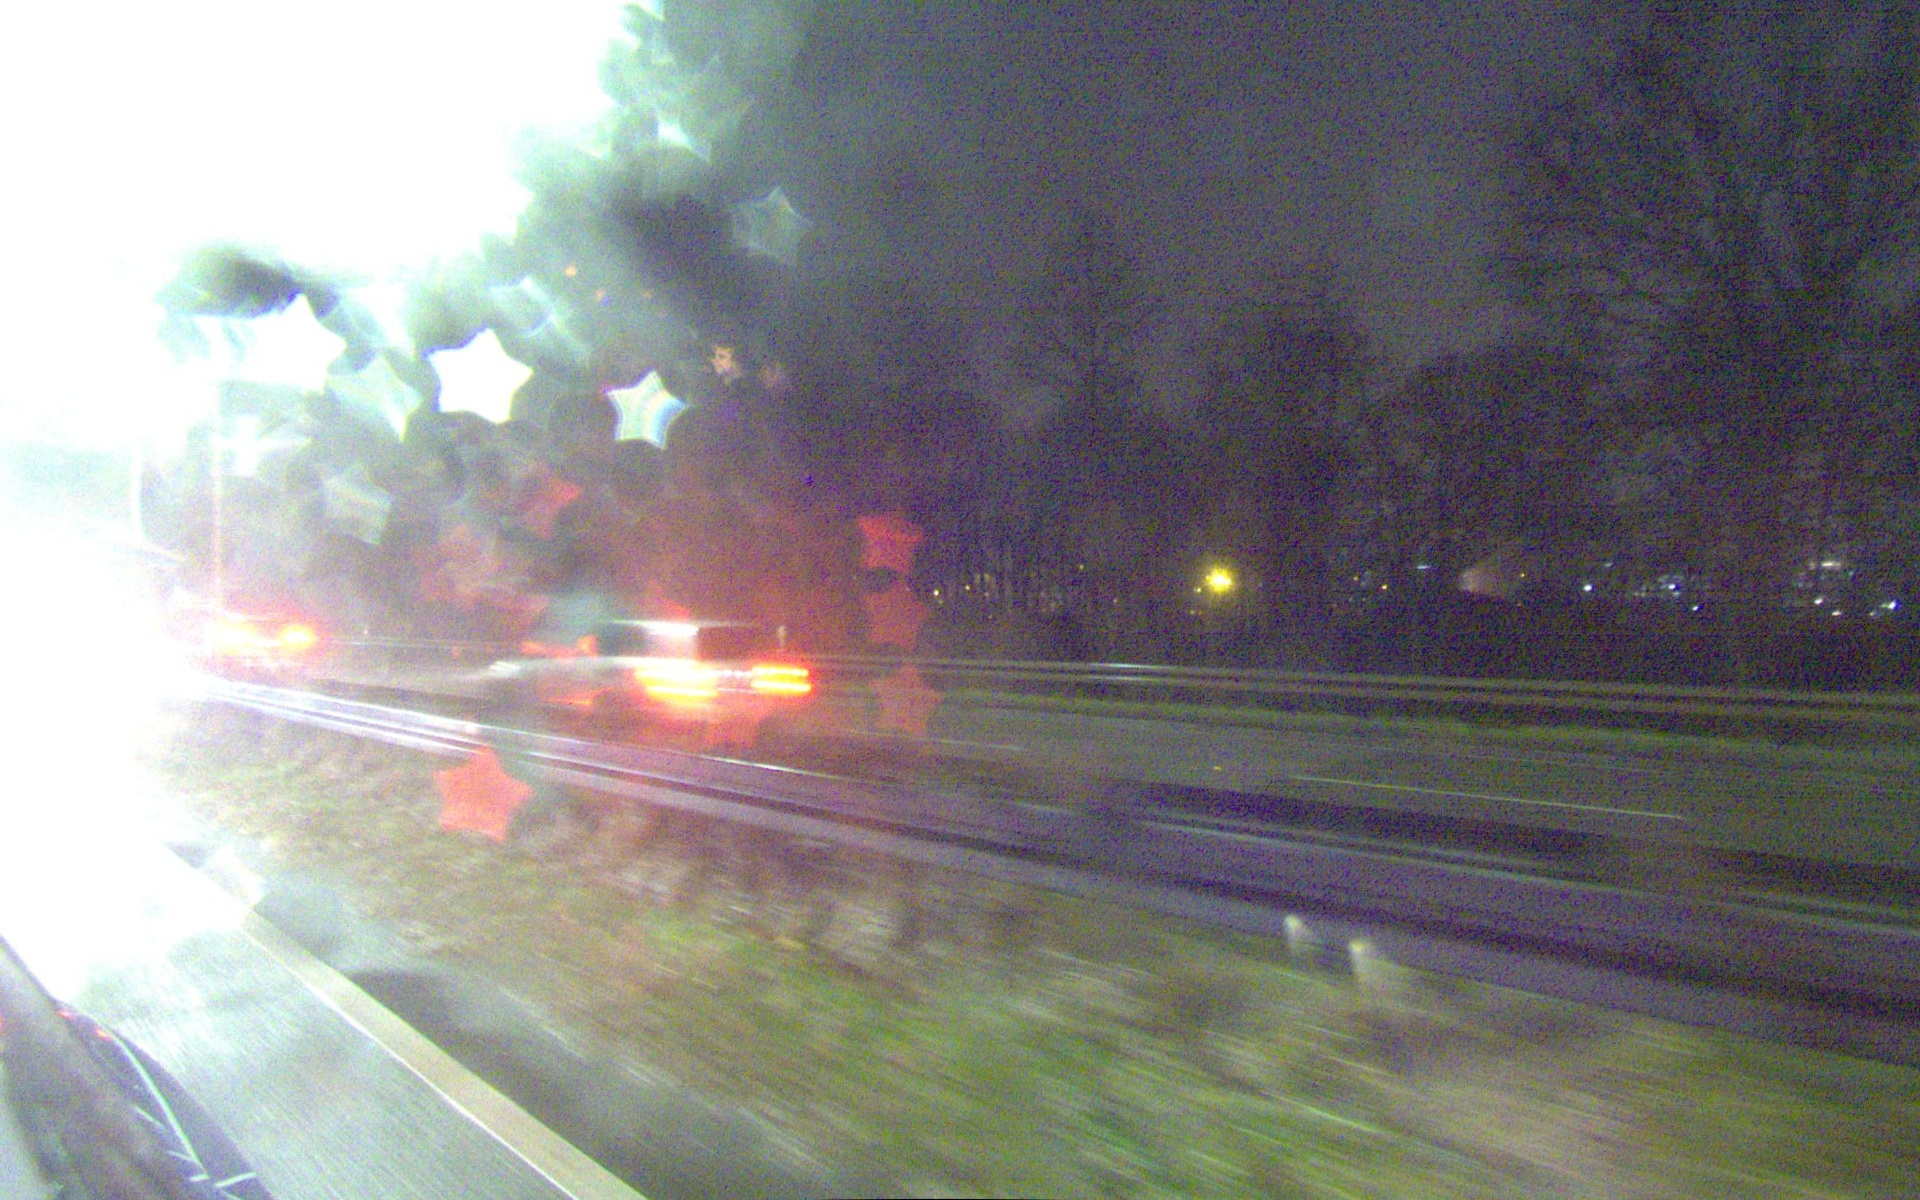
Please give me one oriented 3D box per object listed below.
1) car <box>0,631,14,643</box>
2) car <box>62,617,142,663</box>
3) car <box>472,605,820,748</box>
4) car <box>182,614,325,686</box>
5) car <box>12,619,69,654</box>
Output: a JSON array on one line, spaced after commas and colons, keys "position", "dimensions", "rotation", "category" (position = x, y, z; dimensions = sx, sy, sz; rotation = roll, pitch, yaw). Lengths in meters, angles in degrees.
[{"position": [-108.079, 4.164, 114.139], "dimensions": [4.163, 1.392, 1.593], "rotation": [-1, -3, 42], "category": "car"}, {"position": [-30.916, 1.430, 36.420], "dimensions": [4.160, 1.554, 1.551], "rotation": [-1, -4, 41], "category": "car"}, {"position": [-3.864, 0.856, 12.086], "dimensions": [4.457, 1.405, 1.798], "rotation": [-2, -5, 40], "category": "car"}, {"position": [-17.048, 1.207, 24.367], "dimensions": [3.997, 1.581, 1.790], "rotation": [-2, -5, 40], "category": "car"}, {"position": [-45.486, 1.765, 50.062], "dimensions": [3.998, 1.663, 1.603], "rotation": [-1, -2, 41], "category": "car"}]
